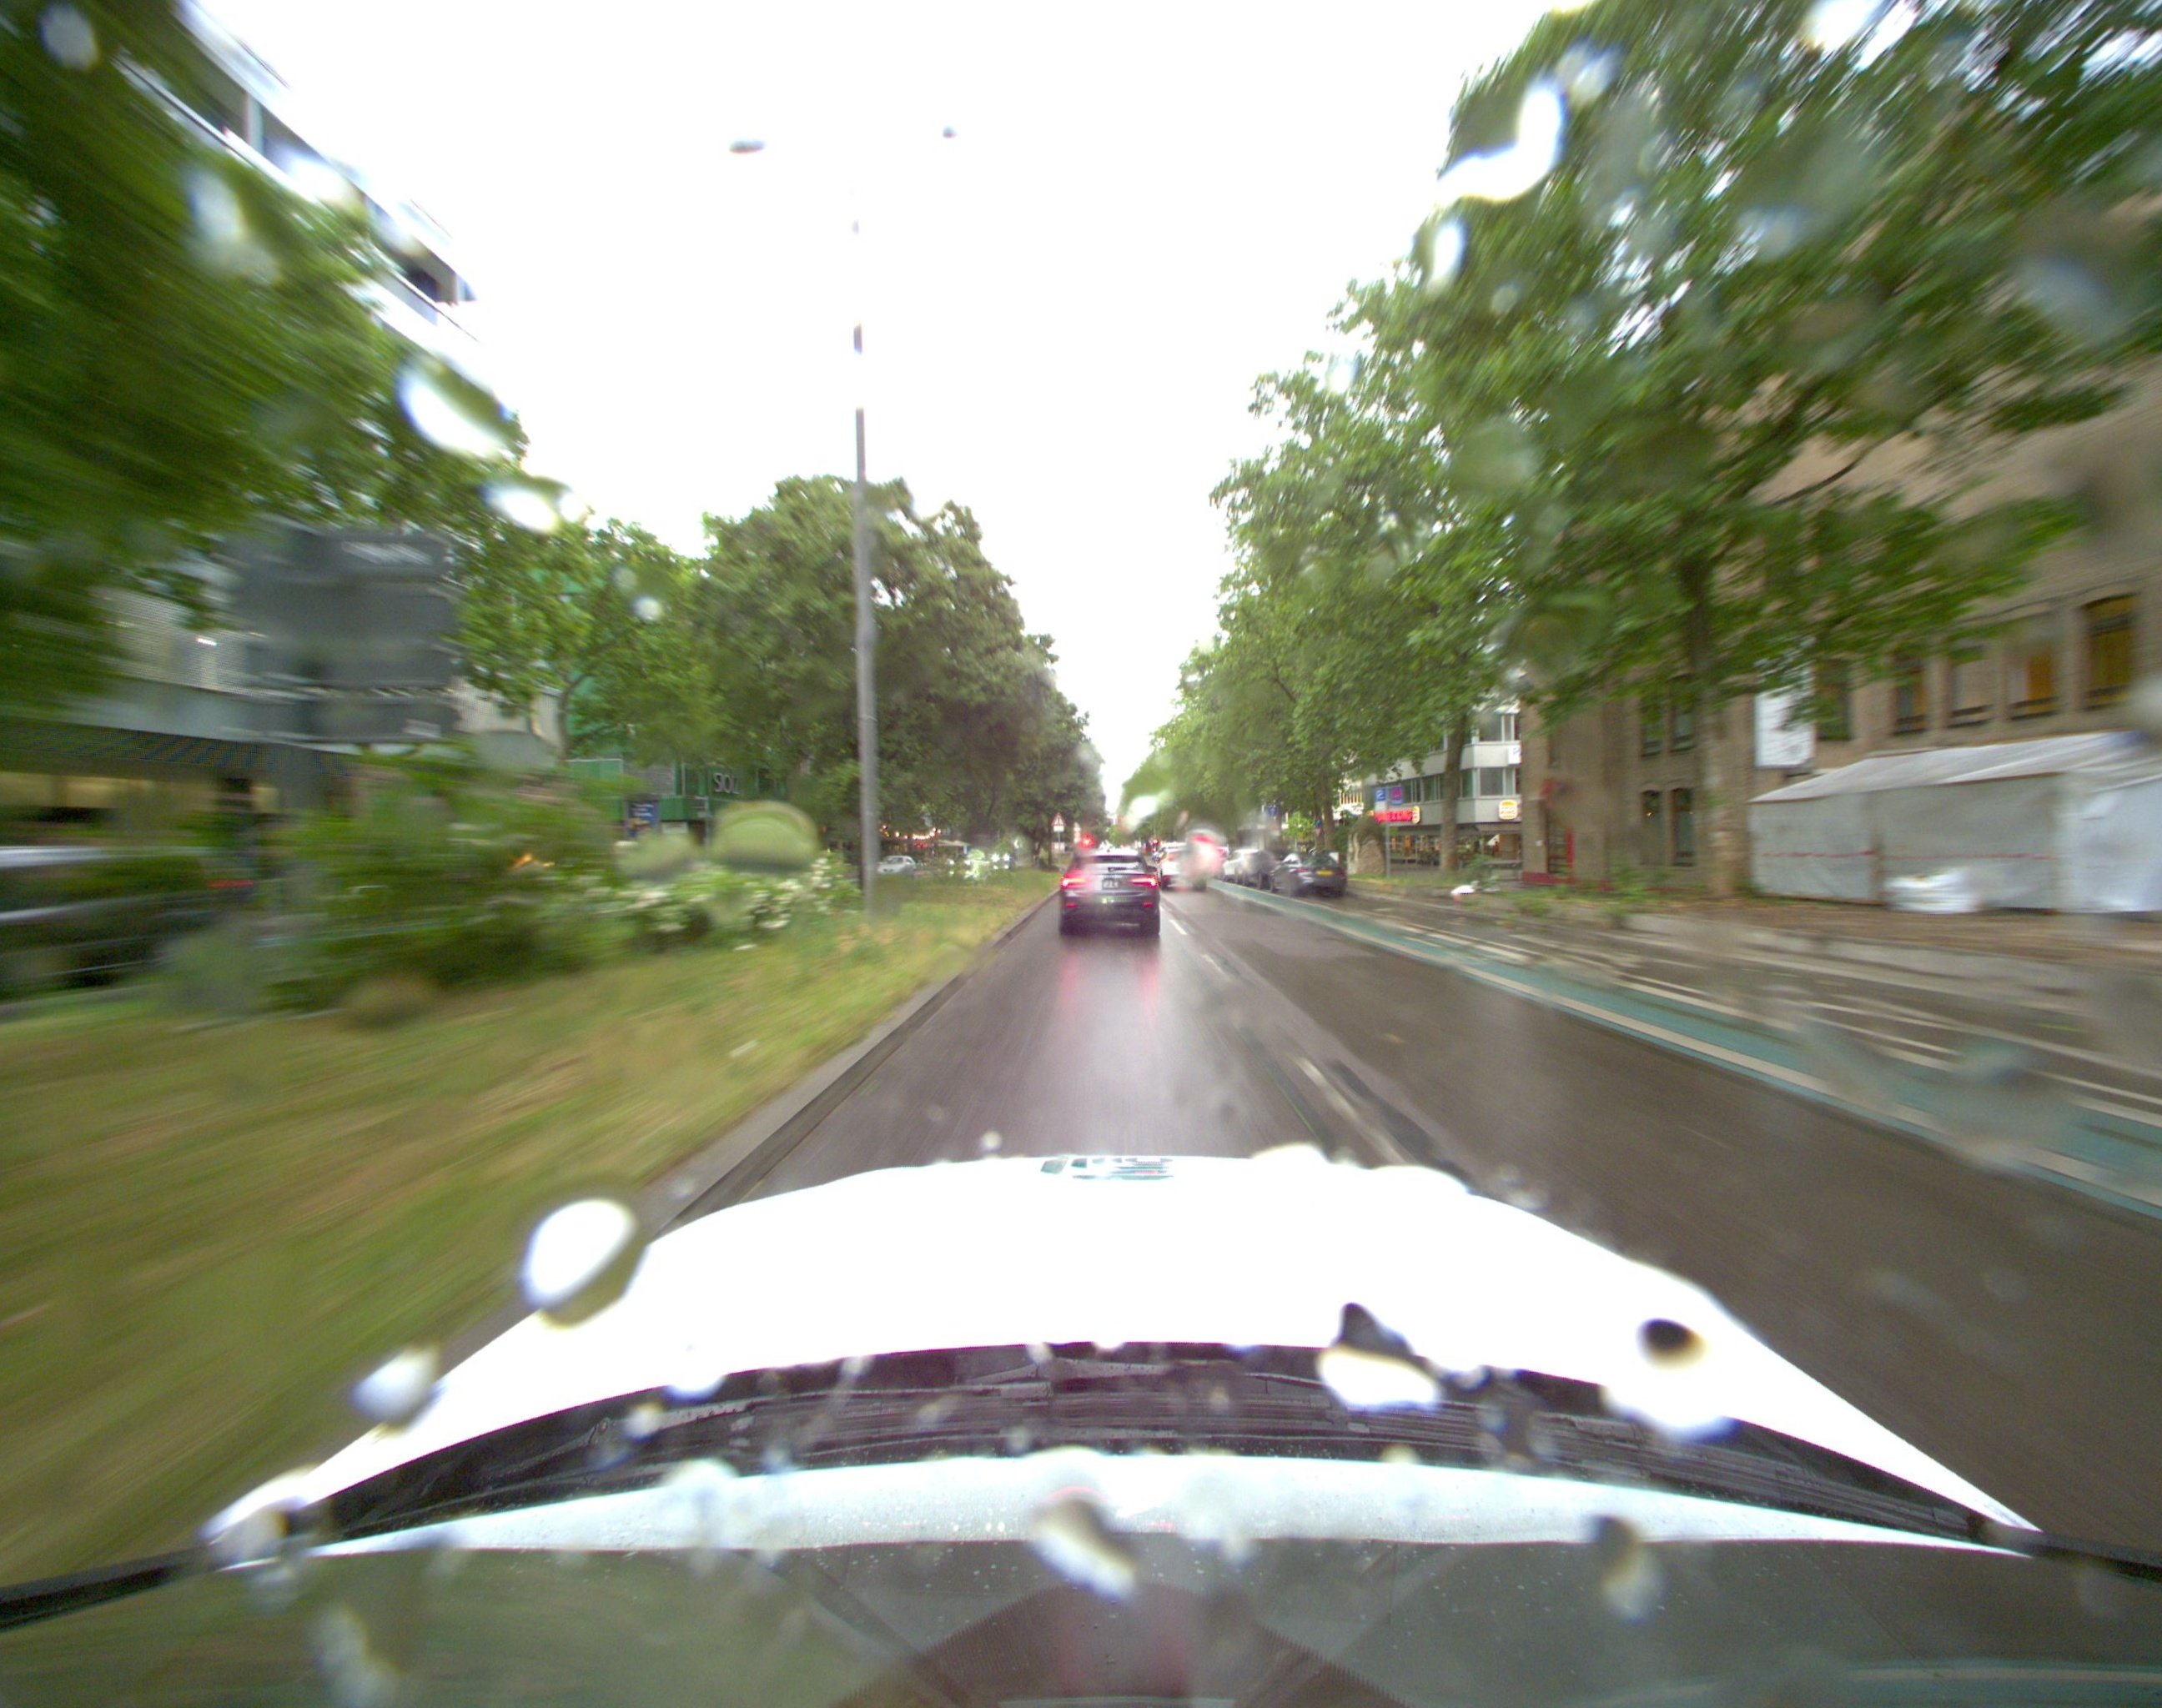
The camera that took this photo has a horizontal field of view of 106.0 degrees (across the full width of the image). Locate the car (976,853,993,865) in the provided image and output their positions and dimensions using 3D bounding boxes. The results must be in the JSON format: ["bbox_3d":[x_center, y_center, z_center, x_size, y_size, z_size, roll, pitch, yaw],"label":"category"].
[{"bbox_3d":[-12.891,0.664,108.836,1.719,1.518,4.002,1,0,2],"label":"car"}]

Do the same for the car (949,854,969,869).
[{"bbox_3d":[-10.913,0.680,73.080,1.687,1.258,3.636,1,0,-7],"label":"car"}]

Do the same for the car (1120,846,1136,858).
[{"bbox_3d":[6.403,-0.244,111.048,1.986,1.651,4.001,1,0,2],"label":"car"}]

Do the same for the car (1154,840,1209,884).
[{"bbox_3d":[4.078,0.314,33.725,1.871,1.697,4.001,1,0,1],"label":"car"}]

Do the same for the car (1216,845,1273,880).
[{"bbox_3d":[7.774,0.392,39.008,1.723,1.571,4.069,1,0,-3],"label":"car"}]

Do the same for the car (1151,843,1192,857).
[{"bbox_3d":[11.195,-0.481,100.468,4.595,1.706,2.012,0,-1,29],"label":"car"}]

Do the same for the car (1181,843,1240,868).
[{"bbox_3d":[11.017,0.134,69.312,4.548,2.014,1.980,0,-1,39],"label":"car"}]

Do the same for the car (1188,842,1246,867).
[{"bbox_3d":[12.519,0.079,75.150,4.835,2.254,2.012,0,-1,30],"label":"car"}]

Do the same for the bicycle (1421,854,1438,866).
[{"bbox_3d":[25.192,0.459,58.869,0.446,0.836,2.027,1,0,2],"label":"bicycle"}]

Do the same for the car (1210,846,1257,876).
[{"bbox_3d":[8.163,0.383,43.946,1.691,1.523,4.021,1,0,-1],"label":"car"}]

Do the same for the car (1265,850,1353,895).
[{"bbox_3d":[7.818,0.589,28.385,1.866,1.421,4.612,1,0,1],"label":"car"}]

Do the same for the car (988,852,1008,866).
[{"bbox_3d":[-10.127,0.630,99.610,1.753,1.703,4.337,1,0,4],"label":"car"}]

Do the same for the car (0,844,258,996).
[{"bbox_3d":[-13.486,0.764,9.966,1.906,1.756,4.679,1,1,3],"label":"car"}]

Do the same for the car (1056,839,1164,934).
[{"bbox_3d":[0.513,0.550,15.885,1.843,1.602,4.000,0,0,0],"label":"car"}]

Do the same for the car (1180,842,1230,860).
[{"bbox_3d":[12.538,-0.306,82.524,4.595,1.706,2.012,0,-1,29],"label":"car"}]

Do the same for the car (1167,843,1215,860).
[{"bbox_3d":[11.690,-0.284,86.414,4.595,1.706,2.012,0,-1,29],"label":"car"}]

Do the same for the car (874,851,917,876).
[{"bbox_3d":[-11.375,0.587,50.160,1.642,1.435,3.814,-1,0,2],"label":"car"}]

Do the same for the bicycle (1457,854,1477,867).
[{"bbox_3d":[25.226,0.440,53.222,0.446,0.836,2.027,1,0,2],"label":"bicycle"}]

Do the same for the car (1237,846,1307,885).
[{"bbox_3d":[7.953,0.464,34.257,1.861,1.520,4.558,1,0,0],"label":"car"}]

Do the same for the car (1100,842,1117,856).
[{"bbox_3d":[3.466,-0.594,102.791,1.986,1.726,4.000,1,0,1],"label":"car"}]
